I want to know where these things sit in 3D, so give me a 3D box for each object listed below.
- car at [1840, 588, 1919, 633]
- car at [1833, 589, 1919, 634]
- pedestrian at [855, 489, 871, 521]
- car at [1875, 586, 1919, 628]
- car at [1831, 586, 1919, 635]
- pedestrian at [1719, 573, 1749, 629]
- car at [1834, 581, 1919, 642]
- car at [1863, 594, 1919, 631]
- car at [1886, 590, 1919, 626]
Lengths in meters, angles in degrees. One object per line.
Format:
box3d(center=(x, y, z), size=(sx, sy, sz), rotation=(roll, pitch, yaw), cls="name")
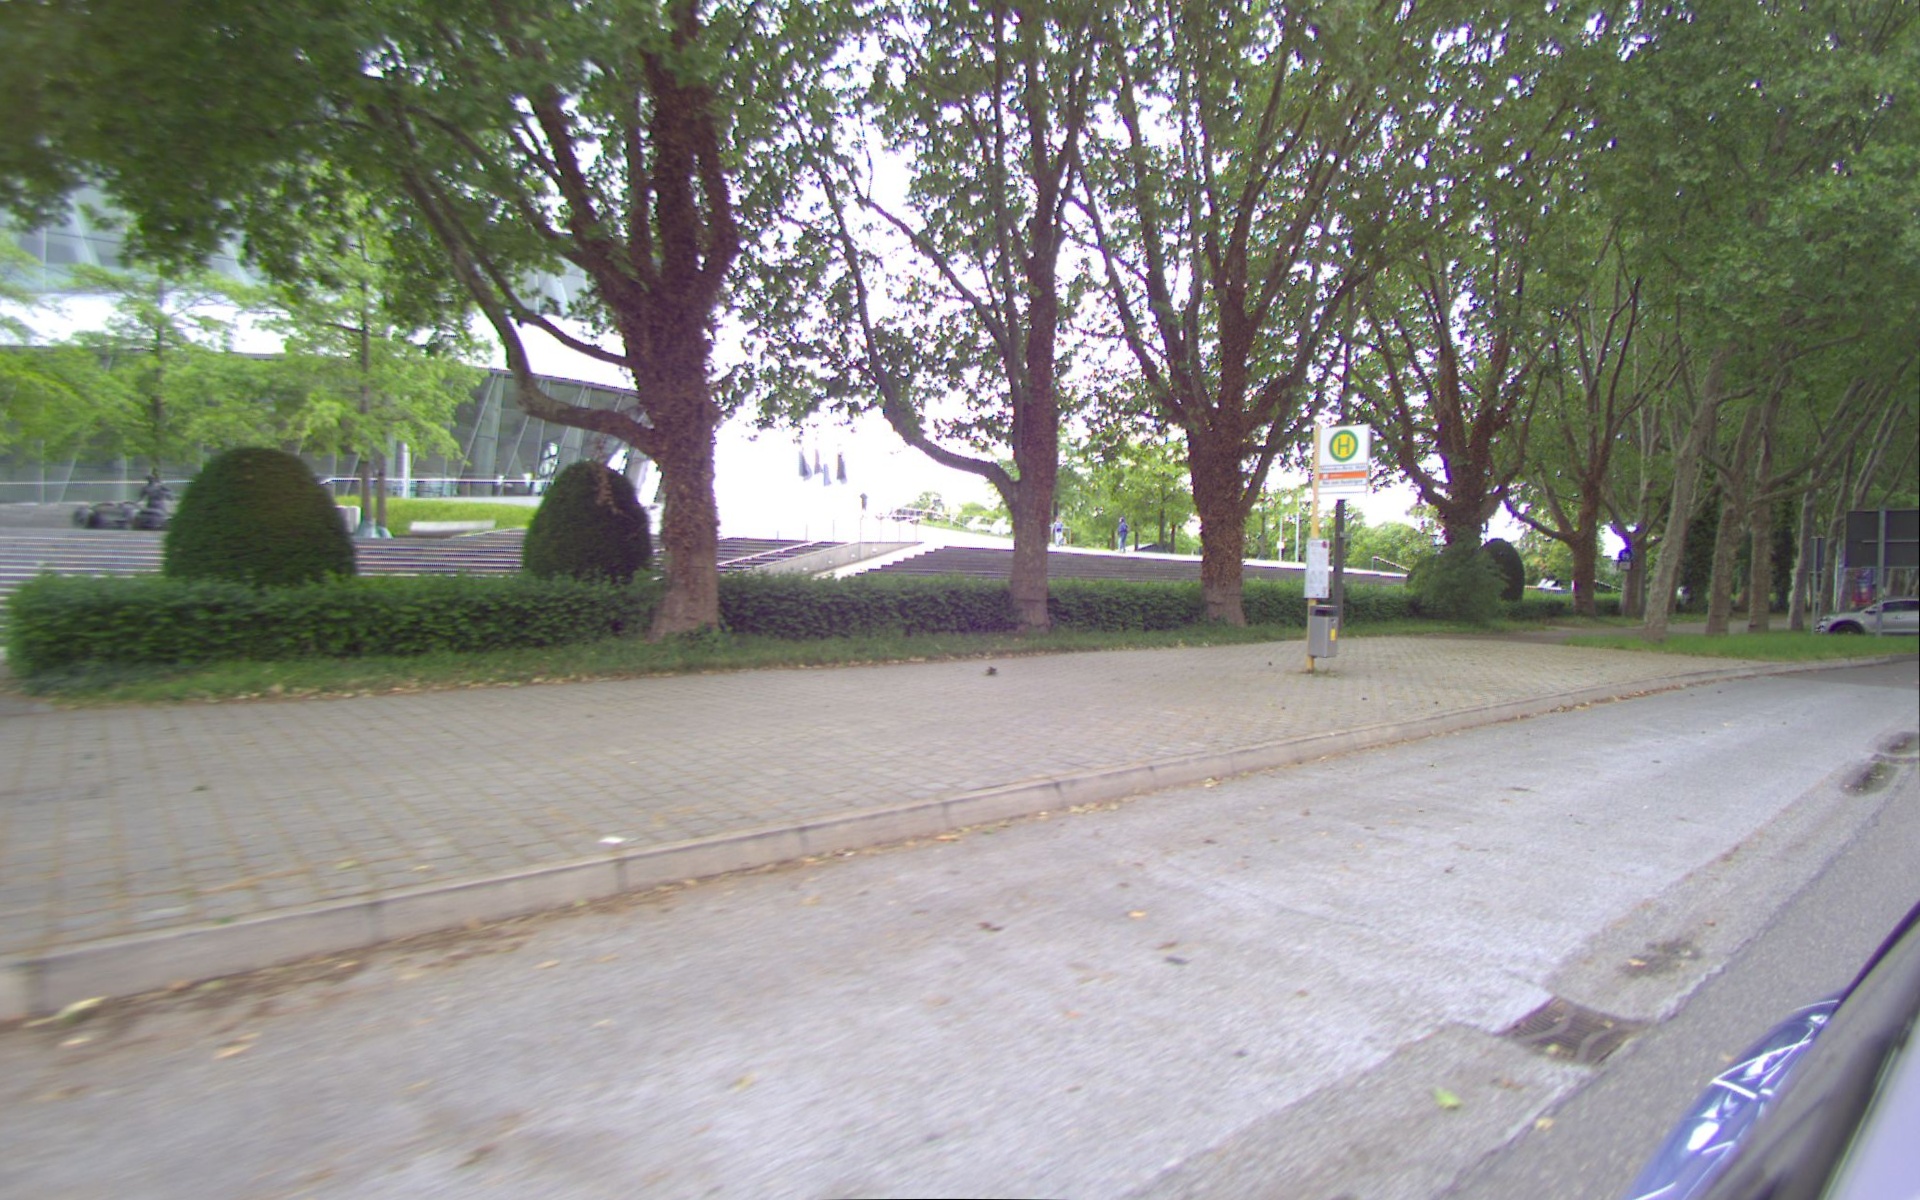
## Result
box3d(center=(36.340, 0.407, 38.316), size=(1.892, 1.654, 4.353), rotation=(1, 0, -41), cls="car")
box3d(center=(34.798, 0.418, 36.882), size=(1.892, 1.625, 4.353), rotation=(1, 0, -41), cls="car")
box3d(center=(-5.637, -5.511, 58.815), size=(0.667, 1.787, 0.838), rotation=(0, 1, -26), cls="pedestrian")
box3d(center=(42.222, 0.349, 43.321), size=(1.893, 1.782, 4.351), rotation=(0, 2, -43), cls="car")
box3d(center=(33.250, 0.366, 35.137), size=(1.892, 1.654, 4.353), rotation=(1, 0, -41), cls="car")
box3d(center=(28.524, 0.027, 37.307), size=(0.781, 2.039, 0.592), rotation=(1, 1, 32), cls="pedestrian")
box3d(center=(33.128, 0.396, 35.170), size=(1.965, 2.039, 3.993), rotation=(1, 0, -41), cls="car")
box3d(center=(40.373, 0.530, 41.901), size=(1.917, 1.474, 4.350), rotation=(1, 0, -43), cls="car")
box3d(center=(49.248, 0.406, 50.543), size=(1.806, 1.768, 4.350), rotation=(1, 0, -44), cls="car")
